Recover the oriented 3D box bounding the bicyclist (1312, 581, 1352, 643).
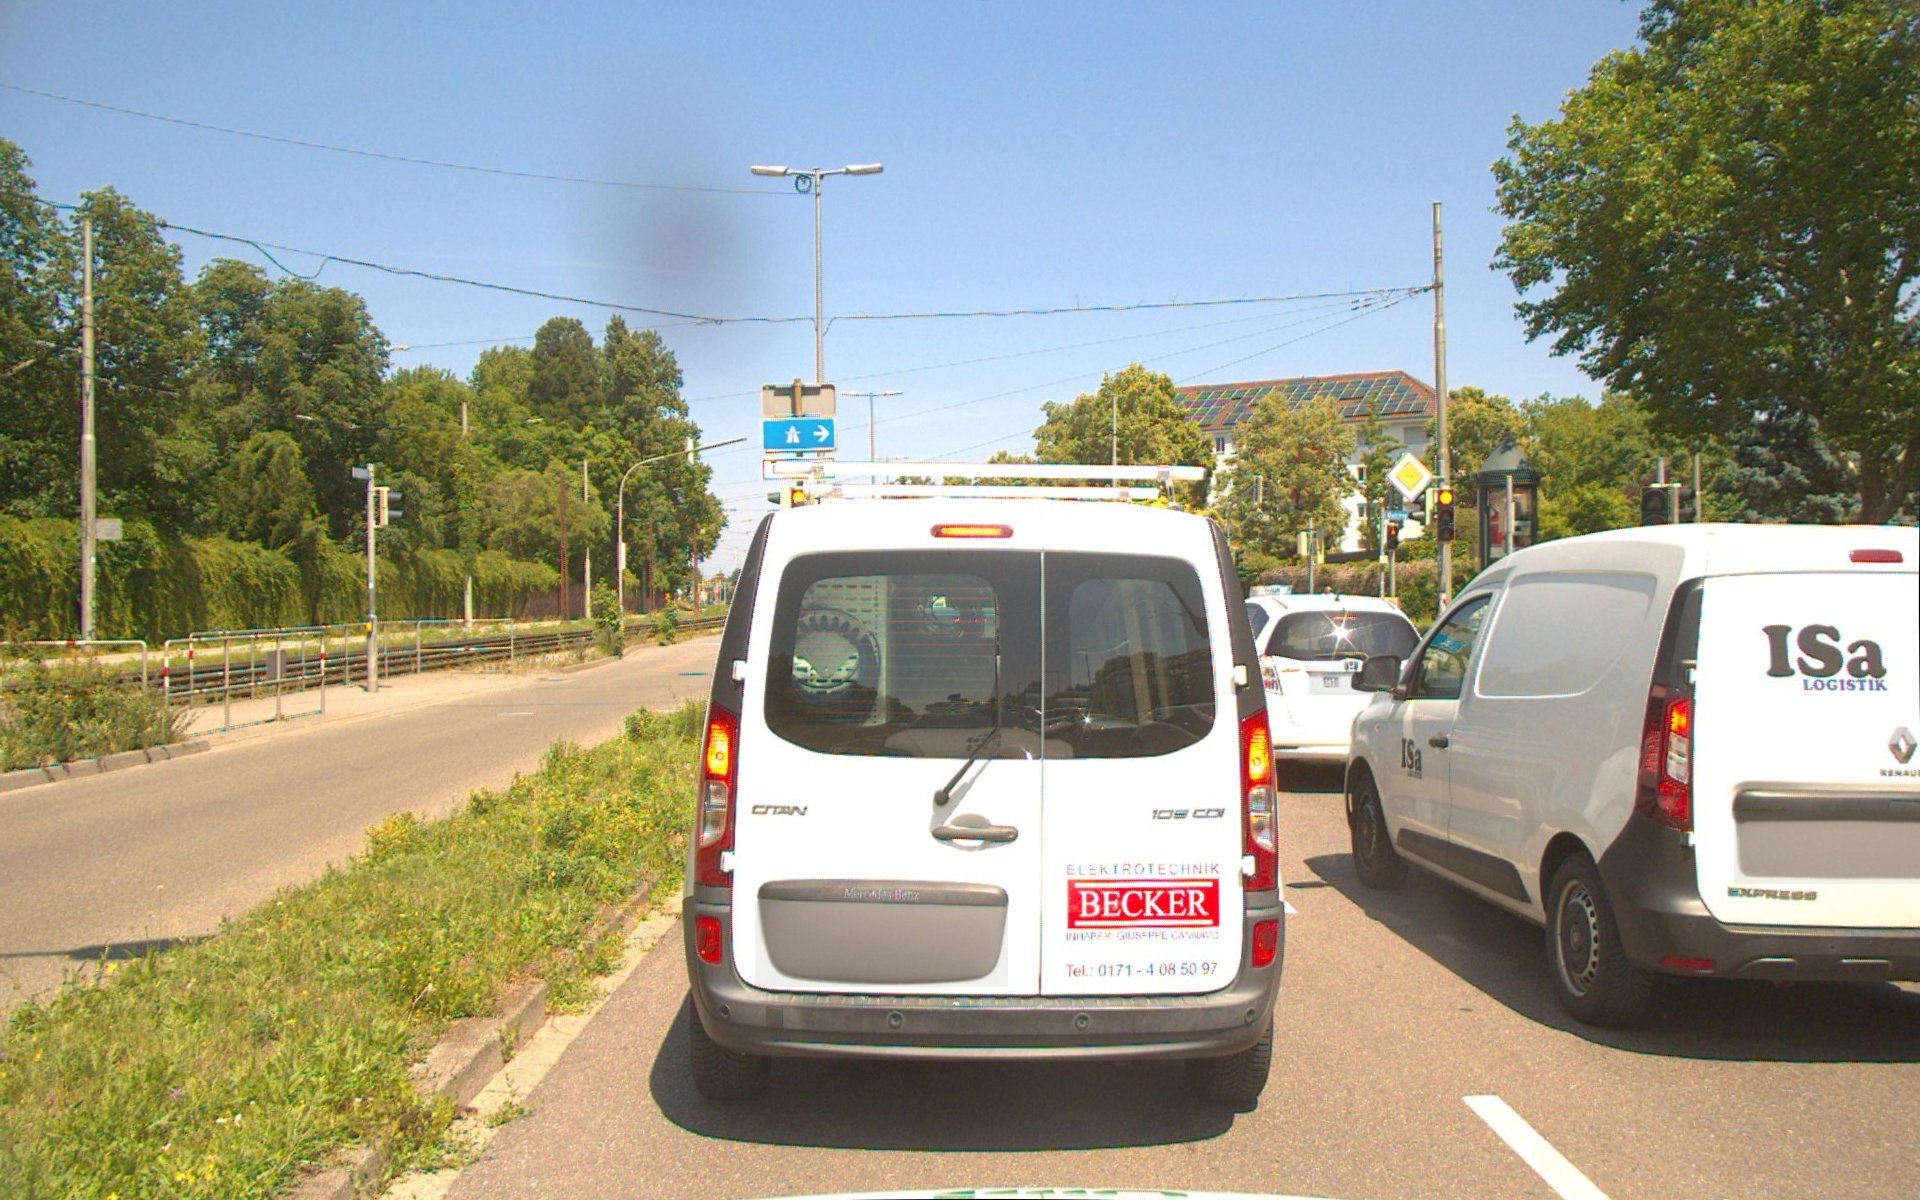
[{"bbox_3d":[11.022,0.344,49.011,0.955,1.819,0.725,0,0,-7],"label":"bicyclist"}]

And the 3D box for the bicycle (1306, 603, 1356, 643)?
[{"bbox_3d":[10.985,0.670,49.031,0.875,1.179,1.953,0,0,-7],"label":"bicycle"}]

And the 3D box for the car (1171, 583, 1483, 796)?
[{"bbox_3d":[3.060,0.664,14.623,1.798,1.596,3.999,1,1,-1],"label":"car"}]

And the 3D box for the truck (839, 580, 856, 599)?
[{"bbox_3d":[-15.847,-1.477,233.599,2.095,2.633,5.888,1,0,-1],"label":"truck"}]

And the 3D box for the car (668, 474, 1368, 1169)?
[{"bbox_3d":[0.122,0.573,6.446,1.784,1.770,4.395,1,0,-1],"label":"car"}]

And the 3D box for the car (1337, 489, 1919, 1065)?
[{"bbox_3d":[3.039,0.571,7.303,1.693,1.819,4.063,1,0,-2],"label":"car"}]

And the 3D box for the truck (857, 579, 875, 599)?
[{"bbox_3d":[-12.746,-1.461,224.764,2.095,2.633,5.888,1,0,-1],"label":"truck"}]

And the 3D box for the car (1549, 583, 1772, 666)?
[{"bbox_3d":[13.679,0.474,32.420,3.906,1.546,1.752,0,-1,23],"label":"car"}]
